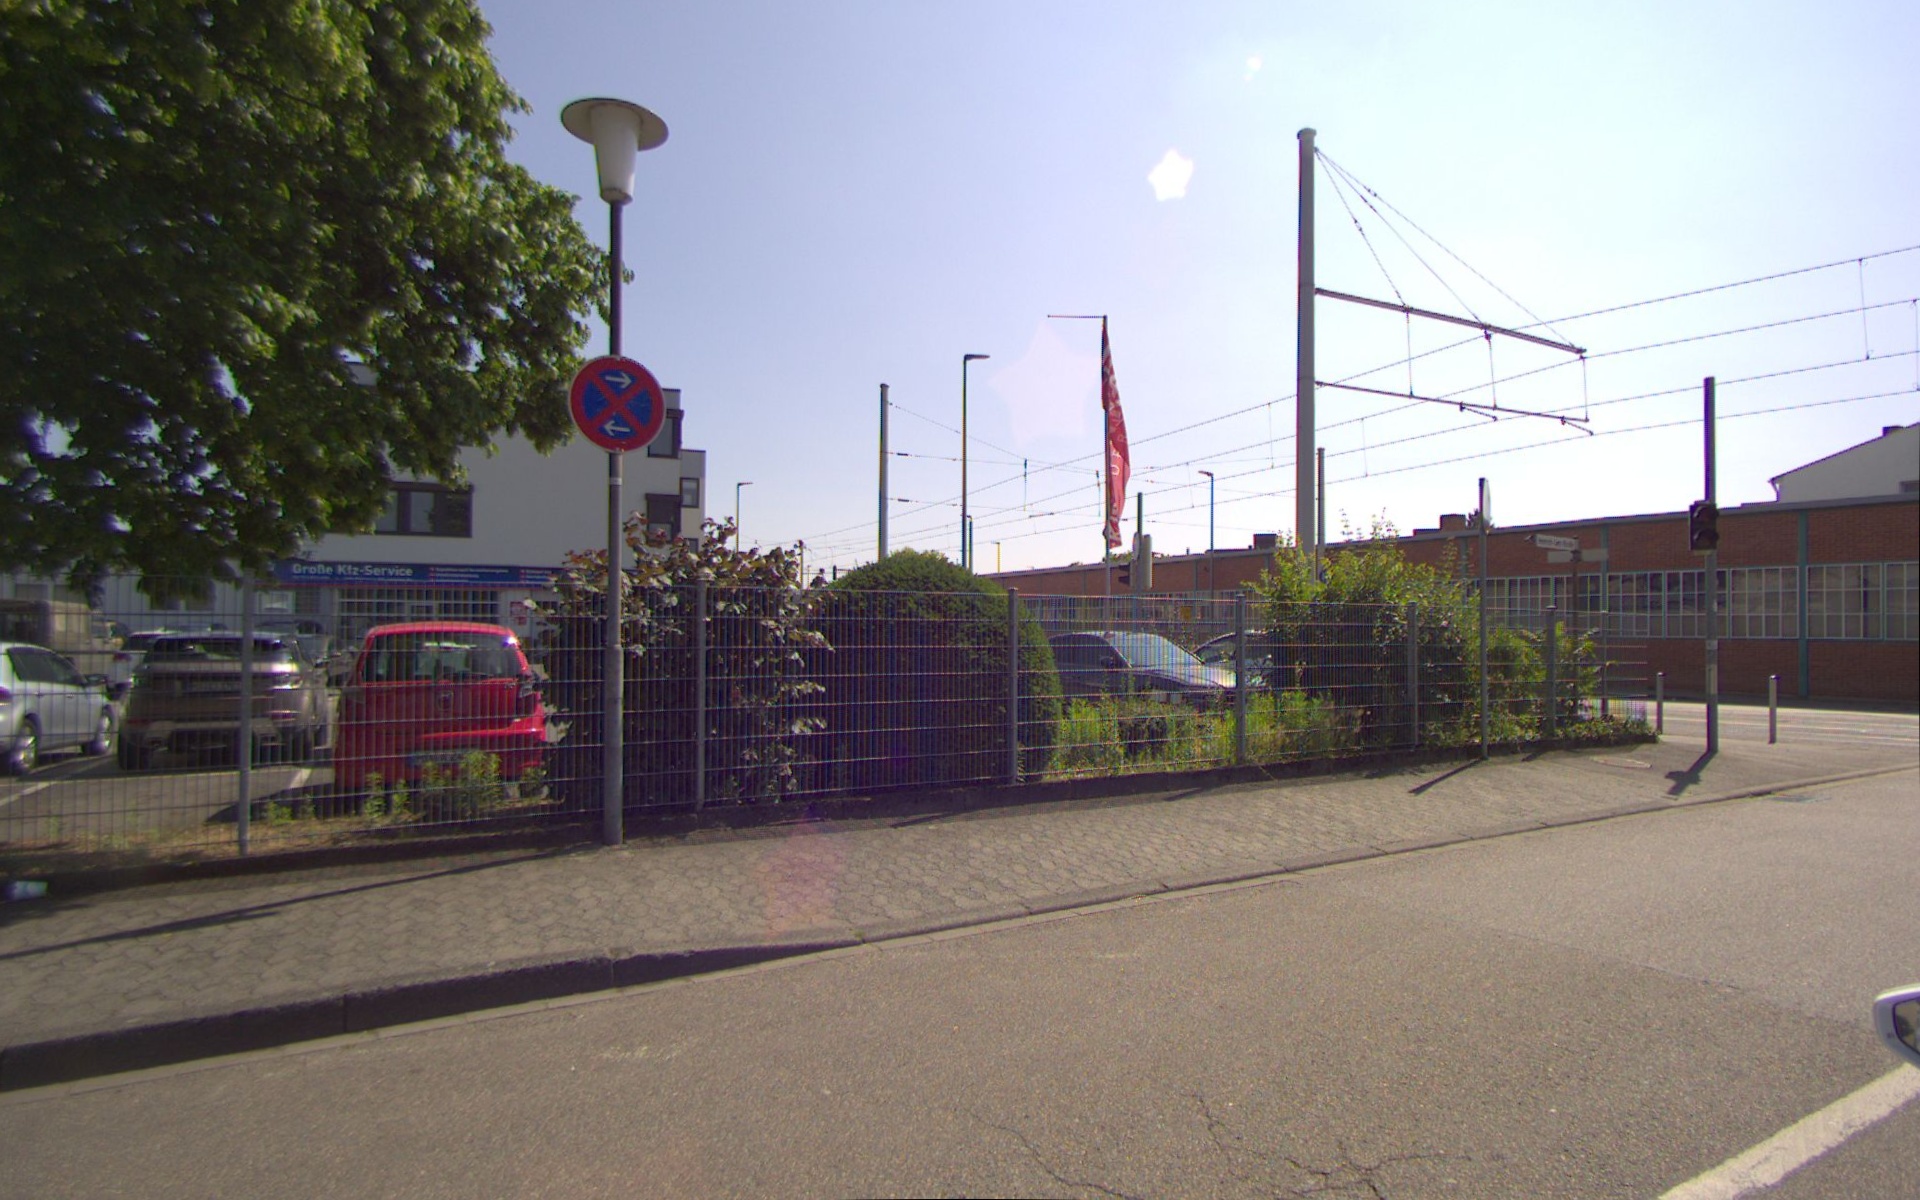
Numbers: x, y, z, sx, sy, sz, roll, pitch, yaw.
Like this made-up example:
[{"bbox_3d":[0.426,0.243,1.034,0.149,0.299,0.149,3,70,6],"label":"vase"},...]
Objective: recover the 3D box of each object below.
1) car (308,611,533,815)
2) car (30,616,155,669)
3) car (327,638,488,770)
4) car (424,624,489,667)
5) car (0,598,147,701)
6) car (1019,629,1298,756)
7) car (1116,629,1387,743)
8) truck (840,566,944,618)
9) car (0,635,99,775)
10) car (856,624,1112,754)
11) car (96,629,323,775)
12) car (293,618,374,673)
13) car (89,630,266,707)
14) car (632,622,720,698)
[{"bbox_3d":[-4.913,0.946,9.299,1.498,1.504,3.367,2,-4,-27],"label":"car"},{"bbox_3d":[-26.770,1.270,31.145,1.683,1.441,3.565,2,0,-19],"label":"car"},{"bbox_3d":[-7.202,1.266,13.260,1.632,1.492,3.059,2,-3,-27],"label":"car"},{"bbox_3d":[-17.694,1.579,35.395,1.398,1.445,3.123,0,-2,-15],"label":"car"},{"bbox_3d":[-19.996,1.055,21.975,2.027,2.040,4.559,1,-2,-20],"label":"car"},{"bbox_3d":[2.666,1.191,14.320,1.785,1.532,3.875,1,-2,-31],"label":"car"},{"bbox_3d":[4.365,1.224,15.579,1.785,1.532,3.875,1,-2,-31],"label":"car"},{"bbox_3d":[-5.174,-0.602,77.632,7.818,3.832,2.480,0,-2,0],"label":"truck"},{"bbox_3d":[-11.682,1.150,11.816,1.665,1.471,3.755,1,-2,-30],"label":"car"},{"bbox_3d":[0.201,1.142,14.175,1.836,1.562,3.803,1,-2,-32],"label":"car"},{"bbox_3d":[-9.465,1.168,13.004,1.954,1.568,3.966,1,-2,-32],"label":"car"},{"bbox_3d":[-21.028,1.511,33.872,1.975,1.706,3.972,1,-2,-28],"label":"car"},{"bbox_3d":[-17.880,1.502,23.228,1.962,1.578,4.405,1,-2,-20],"label":"car"},{"bbox_3d":[-7.544,1.521,26.443,1.899,1.847,4.022,1,-2,-21],"label":"car"}]
